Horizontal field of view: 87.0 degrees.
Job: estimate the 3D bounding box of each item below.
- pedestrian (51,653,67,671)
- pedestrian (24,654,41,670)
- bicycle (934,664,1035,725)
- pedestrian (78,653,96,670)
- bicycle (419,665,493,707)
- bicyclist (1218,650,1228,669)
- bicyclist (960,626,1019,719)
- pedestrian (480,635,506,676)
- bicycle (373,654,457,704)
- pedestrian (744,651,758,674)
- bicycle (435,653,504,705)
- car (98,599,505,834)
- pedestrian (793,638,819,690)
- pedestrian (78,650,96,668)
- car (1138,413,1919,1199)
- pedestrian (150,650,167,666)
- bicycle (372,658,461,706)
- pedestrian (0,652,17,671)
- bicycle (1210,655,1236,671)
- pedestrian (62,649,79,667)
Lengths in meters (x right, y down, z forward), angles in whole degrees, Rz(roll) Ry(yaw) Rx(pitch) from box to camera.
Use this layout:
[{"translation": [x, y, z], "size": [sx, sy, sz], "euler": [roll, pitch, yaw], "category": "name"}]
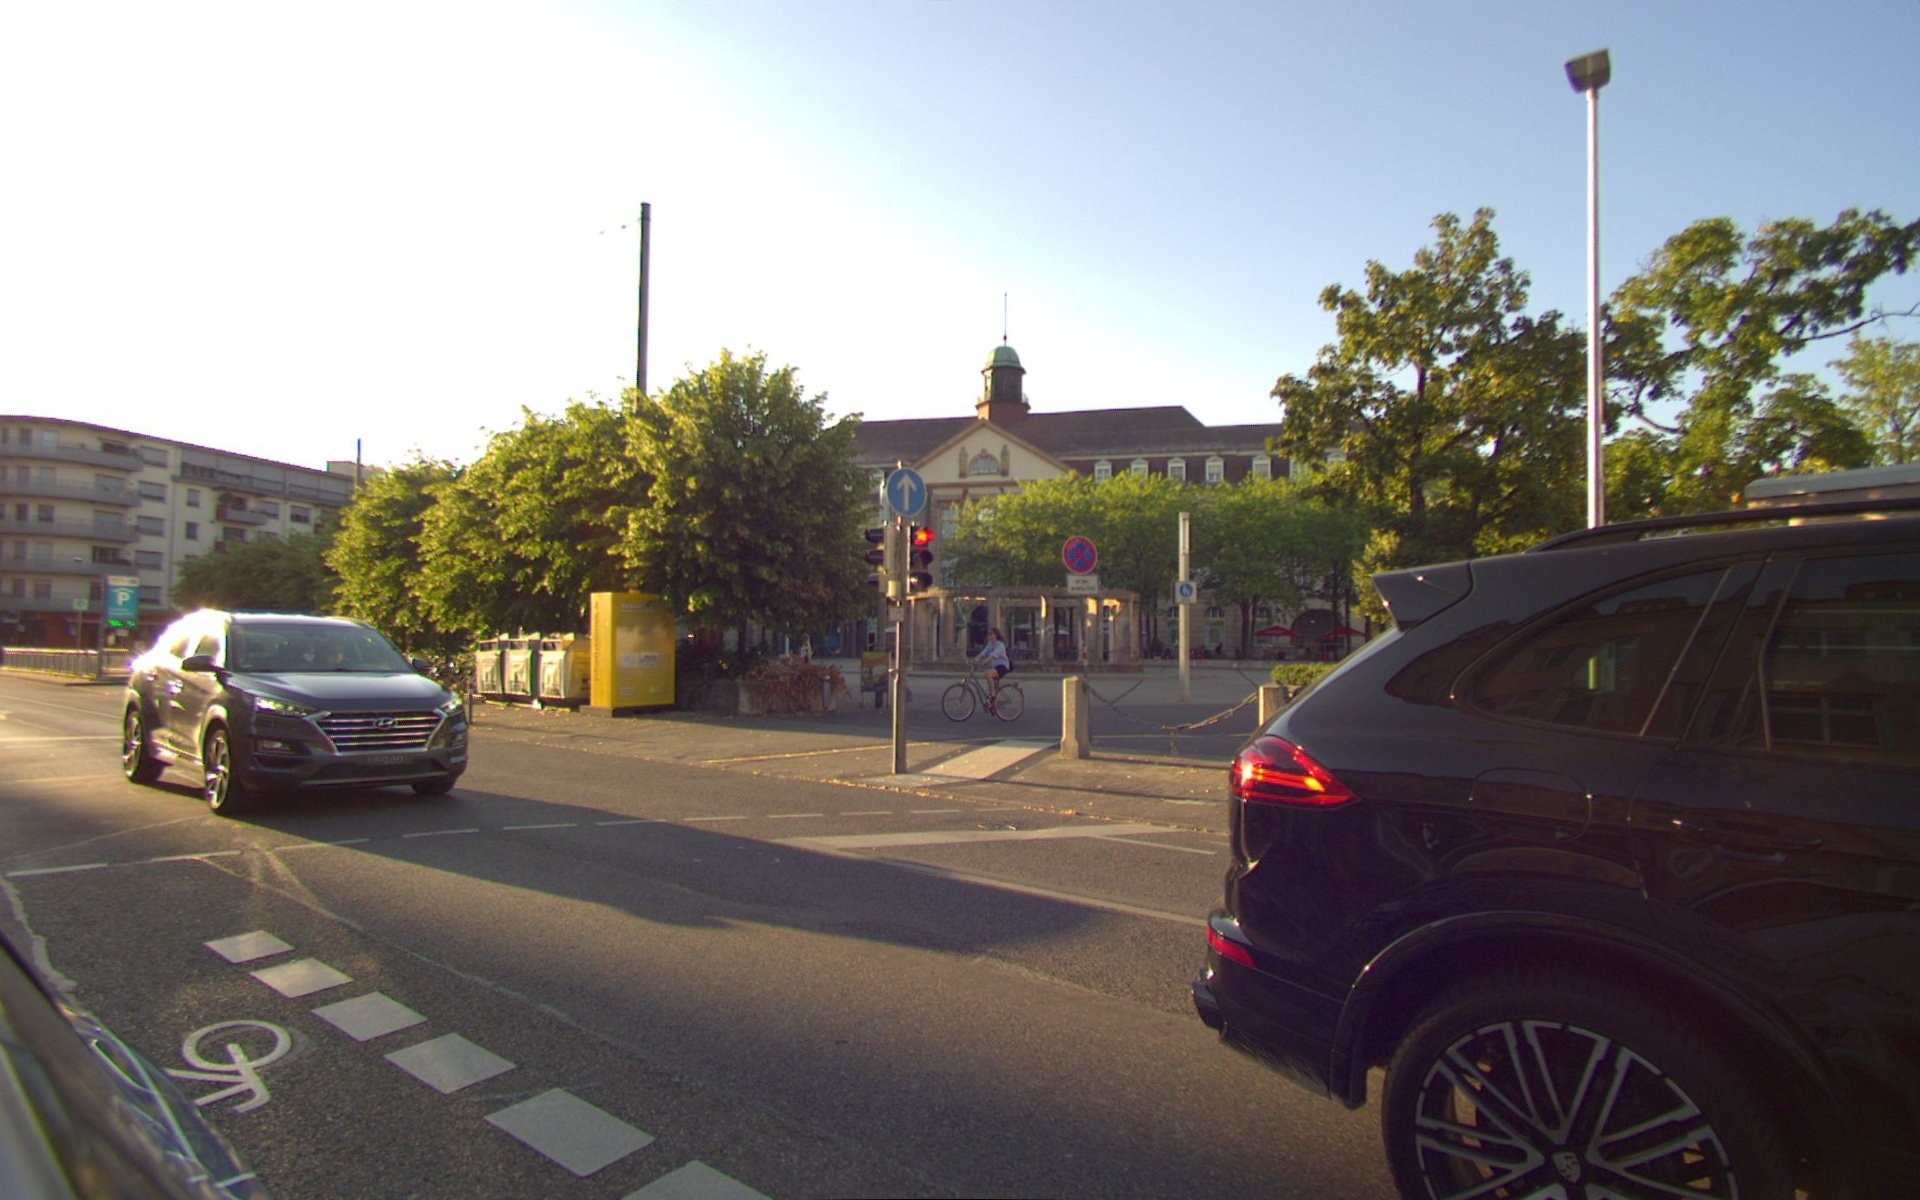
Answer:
[{"translation": [-67.310, 4.644, 75.601], "size": [0.887, 1.332, 0.724], "euler": [-2, -4, 38], "category": "pedestrian"}, {"translation": [-67.560, 4.523, 73.730], "size": [0.875, 1.201, 0.734], "euler": [2, -4, -42], "category": "pedestrian"}, {"translation": [0.489, 1.792, 19.473], "size": [1.889, 1.126, 0.707], "euler": [3, -4, -35], "category": "bicycle"}, {"translation": [-66.507, 4.686, 77.076], "size": [0.884, 1.332, 0.727], "euler": [-2, -3, 25], "category": "pedestrian"}, {"translation": [-12.988, 2.208, 26.138], "size": [0.547, 0.986, 1.659], "euler": [-2, -2, 34], "category": "bicycle"}, {"translation": [20.835, 4.738, 80.241], "size": [0.763, 1.459, 0.637], "euler": [-1, -2, 15], "category": "bicyclist"}, {"translation": [0.557, 1.387, 19.466], "size": [0.766, 1.737, 0.857], "euler": [3, -4, -36], "category": "bicyclist"}, {"translation": [-23.324, 2.779, 50.573], "size": [0.735, 2.029, 0.898], "euler": [-2, -3, 27], "category": "pedestrian"}, {"translation": [-14.923, 2.148, 27.757], "size": [0.547, 1.262, 2.008], "euler": [-2, -2, 34], "category": "bicycle"}, {"translation": [-9.750, 2.921, 47.270], "size": [0.454, 1.071, 0.531], "euler": [0, -4, -32], "category": "pedestrian"}, {"translation": [-12.525, 2.005, 25.889], "size": [0.444, 1.262, 1.571], "euler": [-2, -3, 37], "category": "bicycle"}, {"translation": [-6.310, 0.973, 9.513], "size": [4.444, 1.702, 1.854], "euler": [-2, -5, 39], "category": "car"}, {"translation": [-4.959, 2.052, 32.519], "size": [0.693, 1.633, 0.843], "euler": [1, -2, -19], "category": "pedestrian"}, {"translation": [-67.227, 4.529, 77.952], "size": [0.813, 1.332, 0.684], "euler": [-1, -3, 15], "category": "pedestrian"}, {"translation": [2.808, 0.578, 1.838], "size": [4.556, 1.727, 1.929], "euler": [-3, -5, 39], "category": "car"}, {"translation": [-65.024, 4.689, 82.149], "size": [0.721, 1.332, 0.891], "euler": [1, -3, -12], "category": "pedestrian"}, {"translation": [-14.021, 2.086, 26.150], "size": [0.547, 1.143, 2.008], "euler": [-2, -2, 34], "category": "bicycle"}, {"translation": [-68.314, 4.402, 72.455], "size": [0.725, 1.332, 0.885], "euler": [-1, -3, 12], "category": "pedestrian"}, {"translation": [20.840, 4.983, 80.200], "size": [2.011, 1.270, 0.577], "euler": [-1, -2, 16], "category": "bicycle"}, {"translation": [-66.977, 4.380, 76.218], "size": [0.887, 1.332, 0.724], "euler": [-2, -4, 36], "category": "pedestrian"}]
